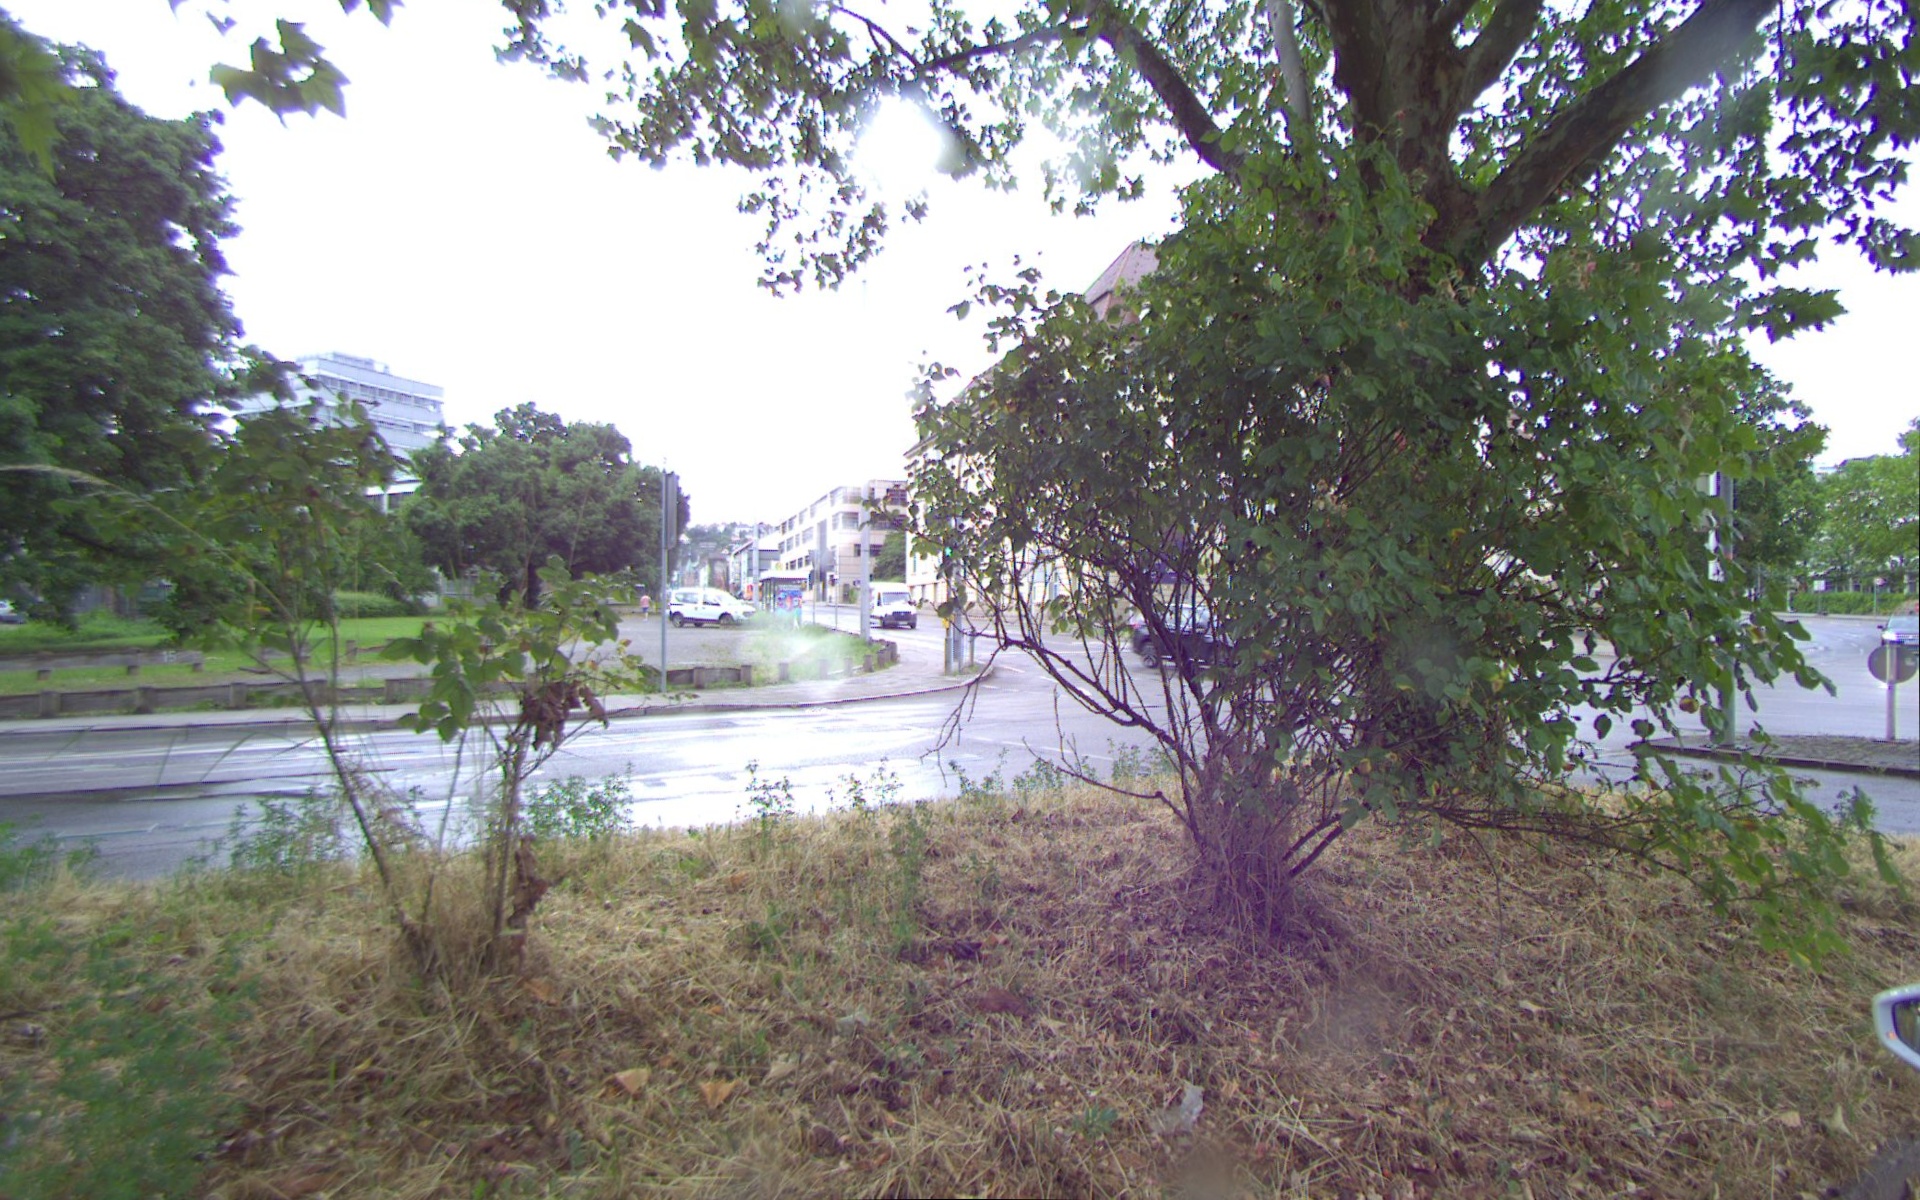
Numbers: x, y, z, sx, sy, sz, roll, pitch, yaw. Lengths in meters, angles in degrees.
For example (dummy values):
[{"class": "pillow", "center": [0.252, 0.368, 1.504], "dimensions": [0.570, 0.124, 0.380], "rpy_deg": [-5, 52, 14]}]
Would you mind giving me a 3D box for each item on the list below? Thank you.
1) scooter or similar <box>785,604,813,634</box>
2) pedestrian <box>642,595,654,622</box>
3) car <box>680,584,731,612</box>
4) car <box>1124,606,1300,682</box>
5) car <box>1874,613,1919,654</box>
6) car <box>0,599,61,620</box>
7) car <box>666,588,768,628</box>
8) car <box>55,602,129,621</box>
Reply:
[{"class": "scooter or similar", "center": [-6.556, 0.773, 40.849], "dimensions": [0.541, 1.182, 1.253], "rpy_deg": [2, 0, 20]}, {"class": "pedestrian", "center": [-18.293, 0.501, 58.898], "dimensions": [0.557, 1.549, 0.669], "rpy_deg": [2, 0, -8]}, {"class": "car", "center": [-17.192, -0.102, 67.675], "dimensions": [1.838, 1.765, 4.029], "rpy_deg": [1, -1, -39]}, {"class": "car", "center": [6.282, 1.028, 25.593], "dimensions": [1.774, 1.728, 4.657], "rpy_deg": [0, 0, -26]}, {"class": "car", "center": [39.208, 1.364, 41.690], "dimensions": [1.847, 1.585, 4.252], "rpy_deg": [-1, -1, 43]}, {"class": "car", "center": [-58.507, 0.561, 62.479], "dimensions": [3.500, 1.158, 1.586], "rpy_deg": [2, 0, -18]}, {"class": "car", "center": [-11.308, 0.372, 46.733], "dimensions": [4.420, 1.791, 1.833], "rpy_deg": [0, -1, 24]}, {"class": "car", "center": [-60.317, 0.806, 69.841], "dimensions": [3.500, 1.158, 1.586], "rpy_deg": [2, 0, -18]}]
